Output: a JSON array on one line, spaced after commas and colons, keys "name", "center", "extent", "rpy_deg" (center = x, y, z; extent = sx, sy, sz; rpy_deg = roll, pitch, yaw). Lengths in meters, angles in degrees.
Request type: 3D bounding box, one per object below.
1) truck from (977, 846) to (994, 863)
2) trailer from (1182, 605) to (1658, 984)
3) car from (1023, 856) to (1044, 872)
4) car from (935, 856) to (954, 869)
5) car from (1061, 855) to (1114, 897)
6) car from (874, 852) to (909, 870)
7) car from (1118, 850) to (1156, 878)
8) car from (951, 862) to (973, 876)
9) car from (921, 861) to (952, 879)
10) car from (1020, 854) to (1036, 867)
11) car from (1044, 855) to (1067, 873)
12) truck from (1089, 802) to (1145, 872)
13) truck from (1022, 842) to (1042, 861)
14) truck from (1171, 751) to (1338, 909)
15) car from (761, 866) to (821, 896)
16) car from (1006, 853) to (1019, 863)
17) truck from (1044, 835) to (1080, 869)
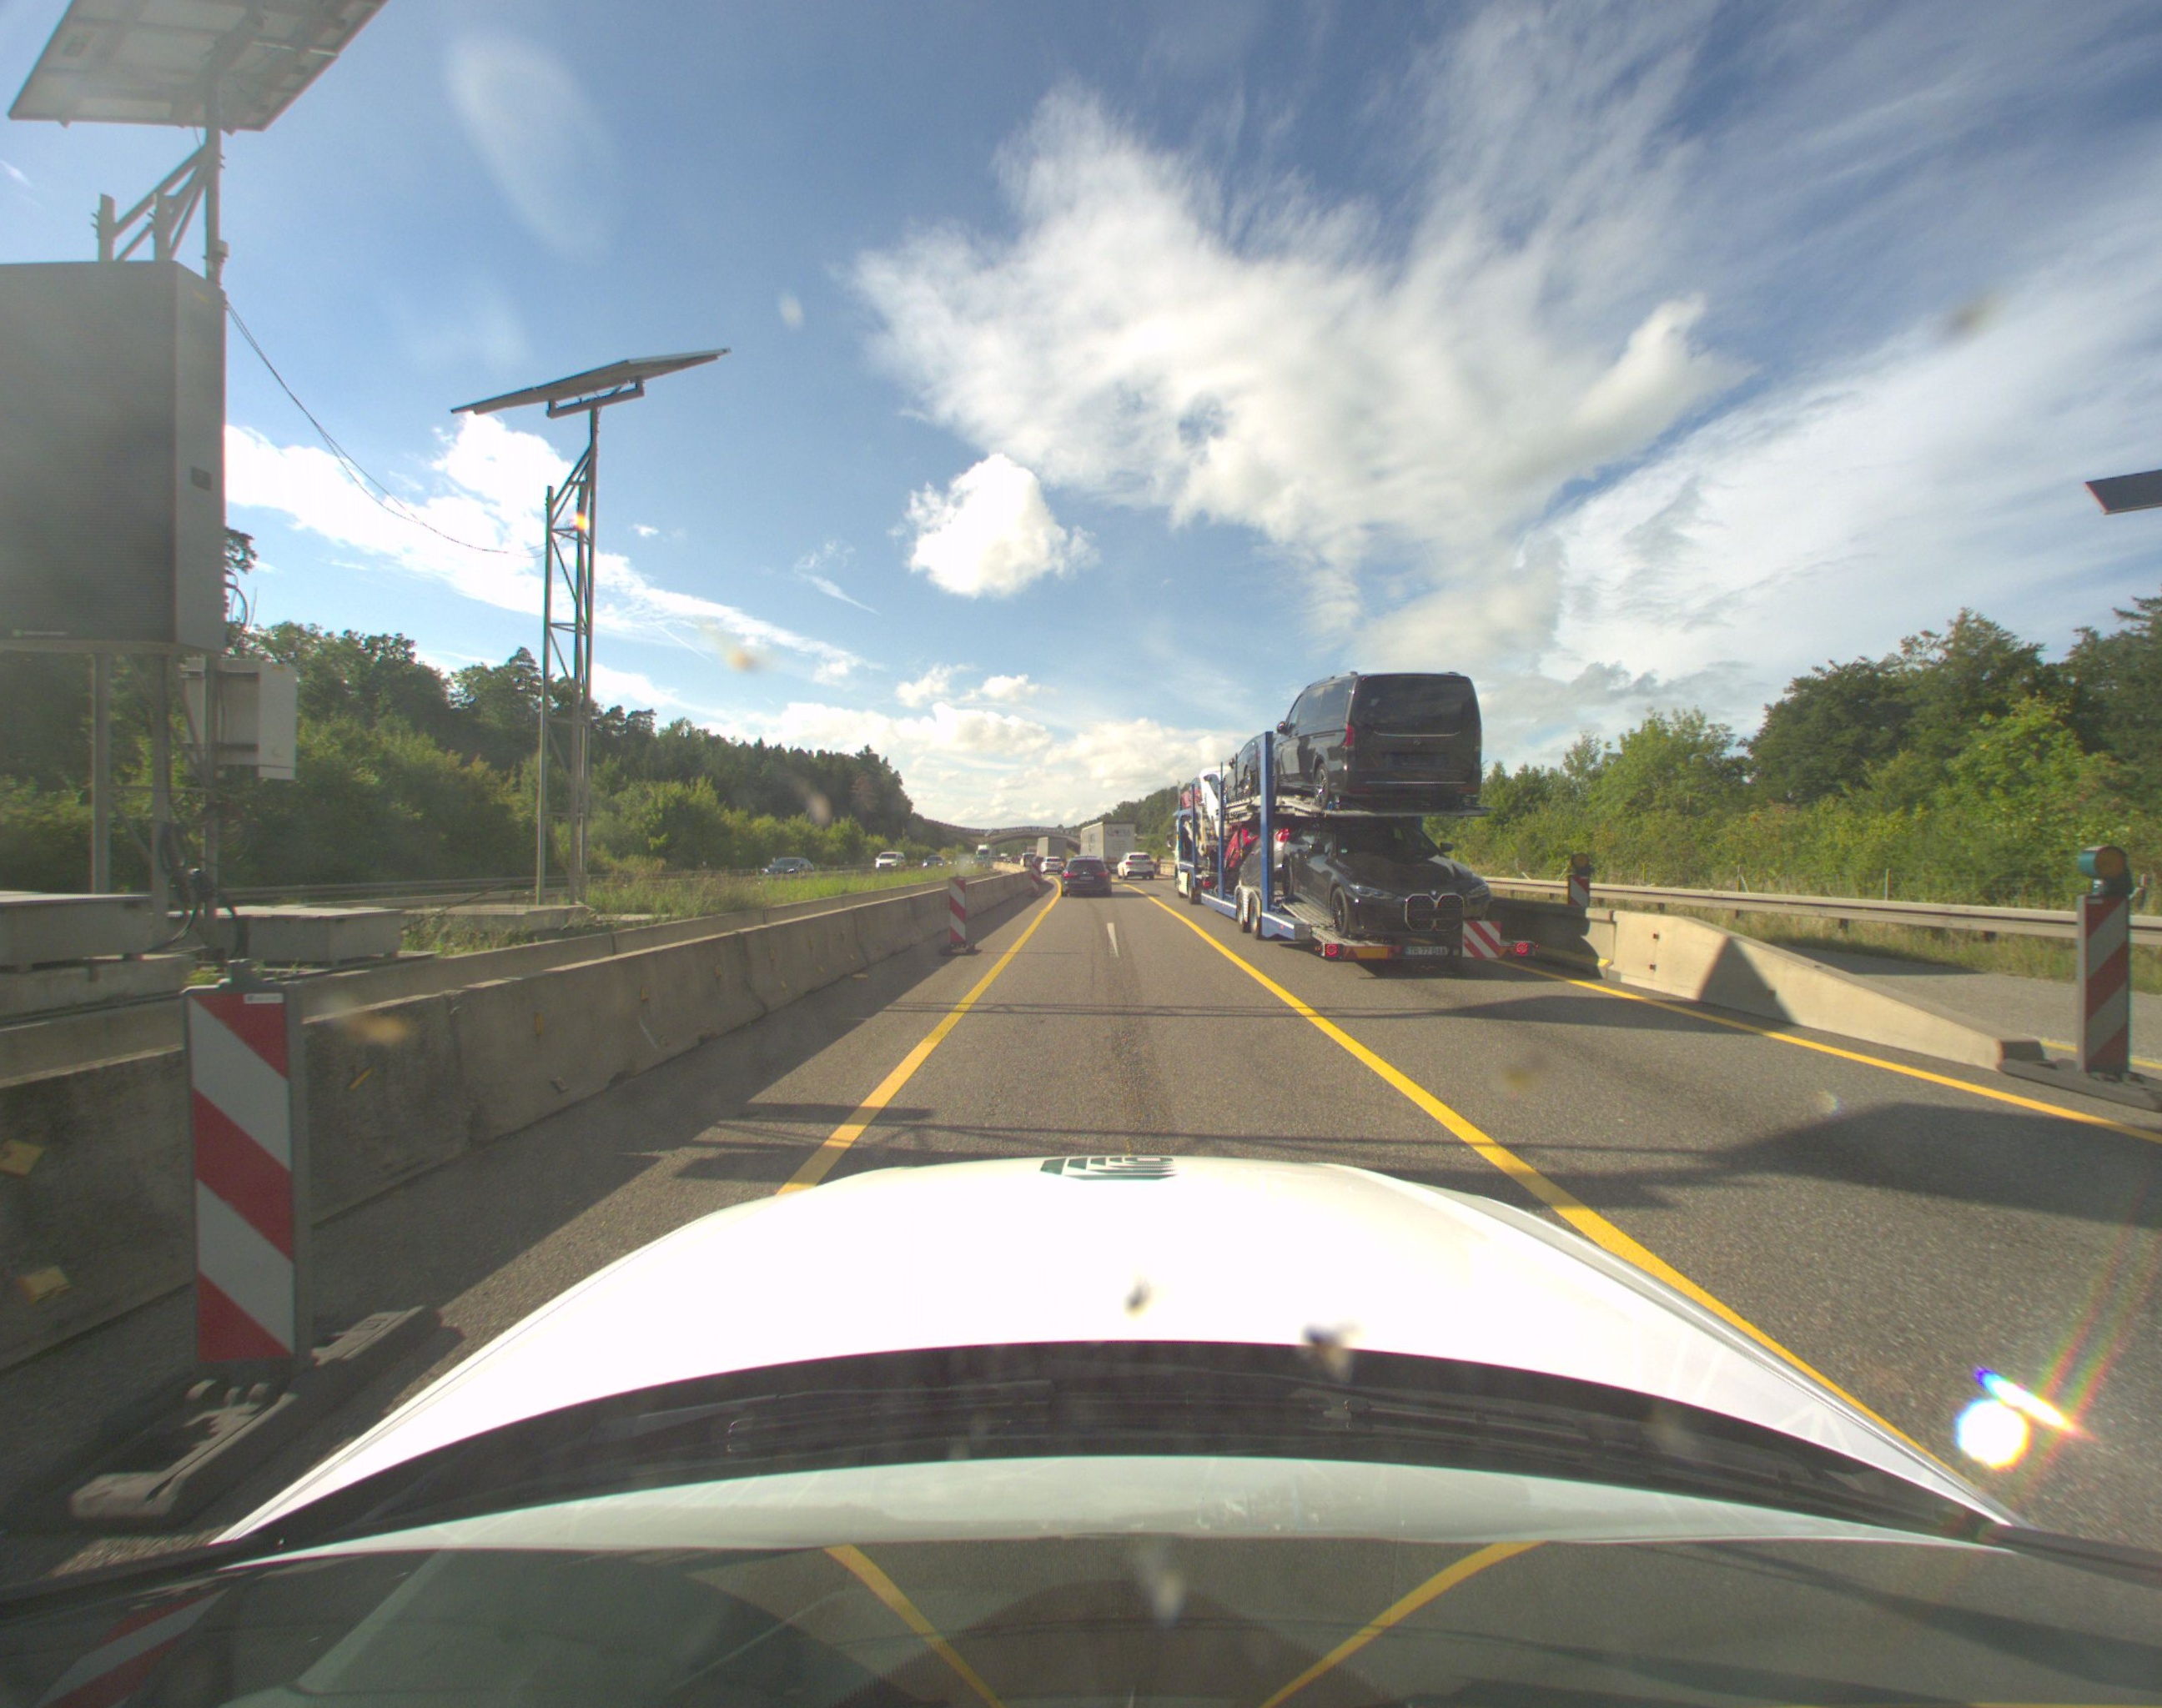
[{"name": "truck", "center": [-19.060, 0.106, 163.041], "extent": [2.749, 3.298, 5.809], "rpy_deg": [0, 0, -2]}, {"name": "trailer", "center": [4.772, -0.643, 17.177], "extent": [3.712, 4.196, 16.233], "rpy_deg": [0, 0, 2]}, {"name": "car", "center": [-4.980, 1.033, 85.497], "extent": [1.889, 1.643, 4.007], "rpy_deg": [0, 0, -8]}, {"name": "car", "center": [-18.234, 1.098, 108.899], "extent": [1.964, 1.602, 4.940], "rpy_deg": [0, 0, -4]}, {"name": "car", "center": [0.239, 0.783, 30.679], "extent": [1.884, 1.446, 3.999], "rpy_deg": [0, 0, 0]}, {"name": "car", "center": [-17.348, 0.607, 74.769], "extent": [1.961, 1.602, 4.947], "rpy_deg": [0, 0, 0]}, {"name": "car", "center": [3.391, 0.613, 50.121], "extent": [1.886, 1.643, 4.014], "rpy_deg": [0, 0, -3]}, {"name": "car", "center": [-14.599, 1.805, 100.165], "extent": [1.962, 1.602, 4.946], "rpy_deg": [0, 0, 0]}, {"name": "car", "center": [-13.621, 1.481, 77.115], "extent": [1.961, 1.602, 4.947], "rpy_deg": [0, 0, 0]}, {"name": "car", "center": [-6.604, 0.774, 101.145], "extent": [1.888, 1.643, 4.009], "rpy_deg": [0, 0, -6]}, {"name": "car", "center": [-2.162, 0.848, 68.334], "extent": [1.886, 1.446, 3.995], "rpy_deg": [0, 0, -3]}, {"name": "truck", "center": [2.846, -1.280, 70.500], "extent": [3.667, 5.353, 16.190], "rpy_deg": [0, 0, -2]}, {"name": "truck", "center": [-10.520, -0.483, 173.674], "extent": [3.650, 3.928, 11.041], "rpy_deg": [0, 0, -7]}, {"name": "truck", "center": [5.061, -0.623, 25.656], "extent": [3.747, 4.196, 7.953], "rpy_deg": [0, 0, 2]}, {"name": "car", "center": [-16.954, 1.518, 47.837], "extent": [1.772, 1.602, 4.676], "rpy_deg": [0, 0, 1]}, {"name": "car", "center": [-11.670, 0.703, 138.253], "extent": [1.778, 1.602, 4.003], "rpy_deg": [0, 0, -11]}, {"name": "truck", "center": [-2.829, -0.235, 114.175], "extent": [4.313, 4.600, 11.104], "rpy_deg": [0, 0, -5]}]
